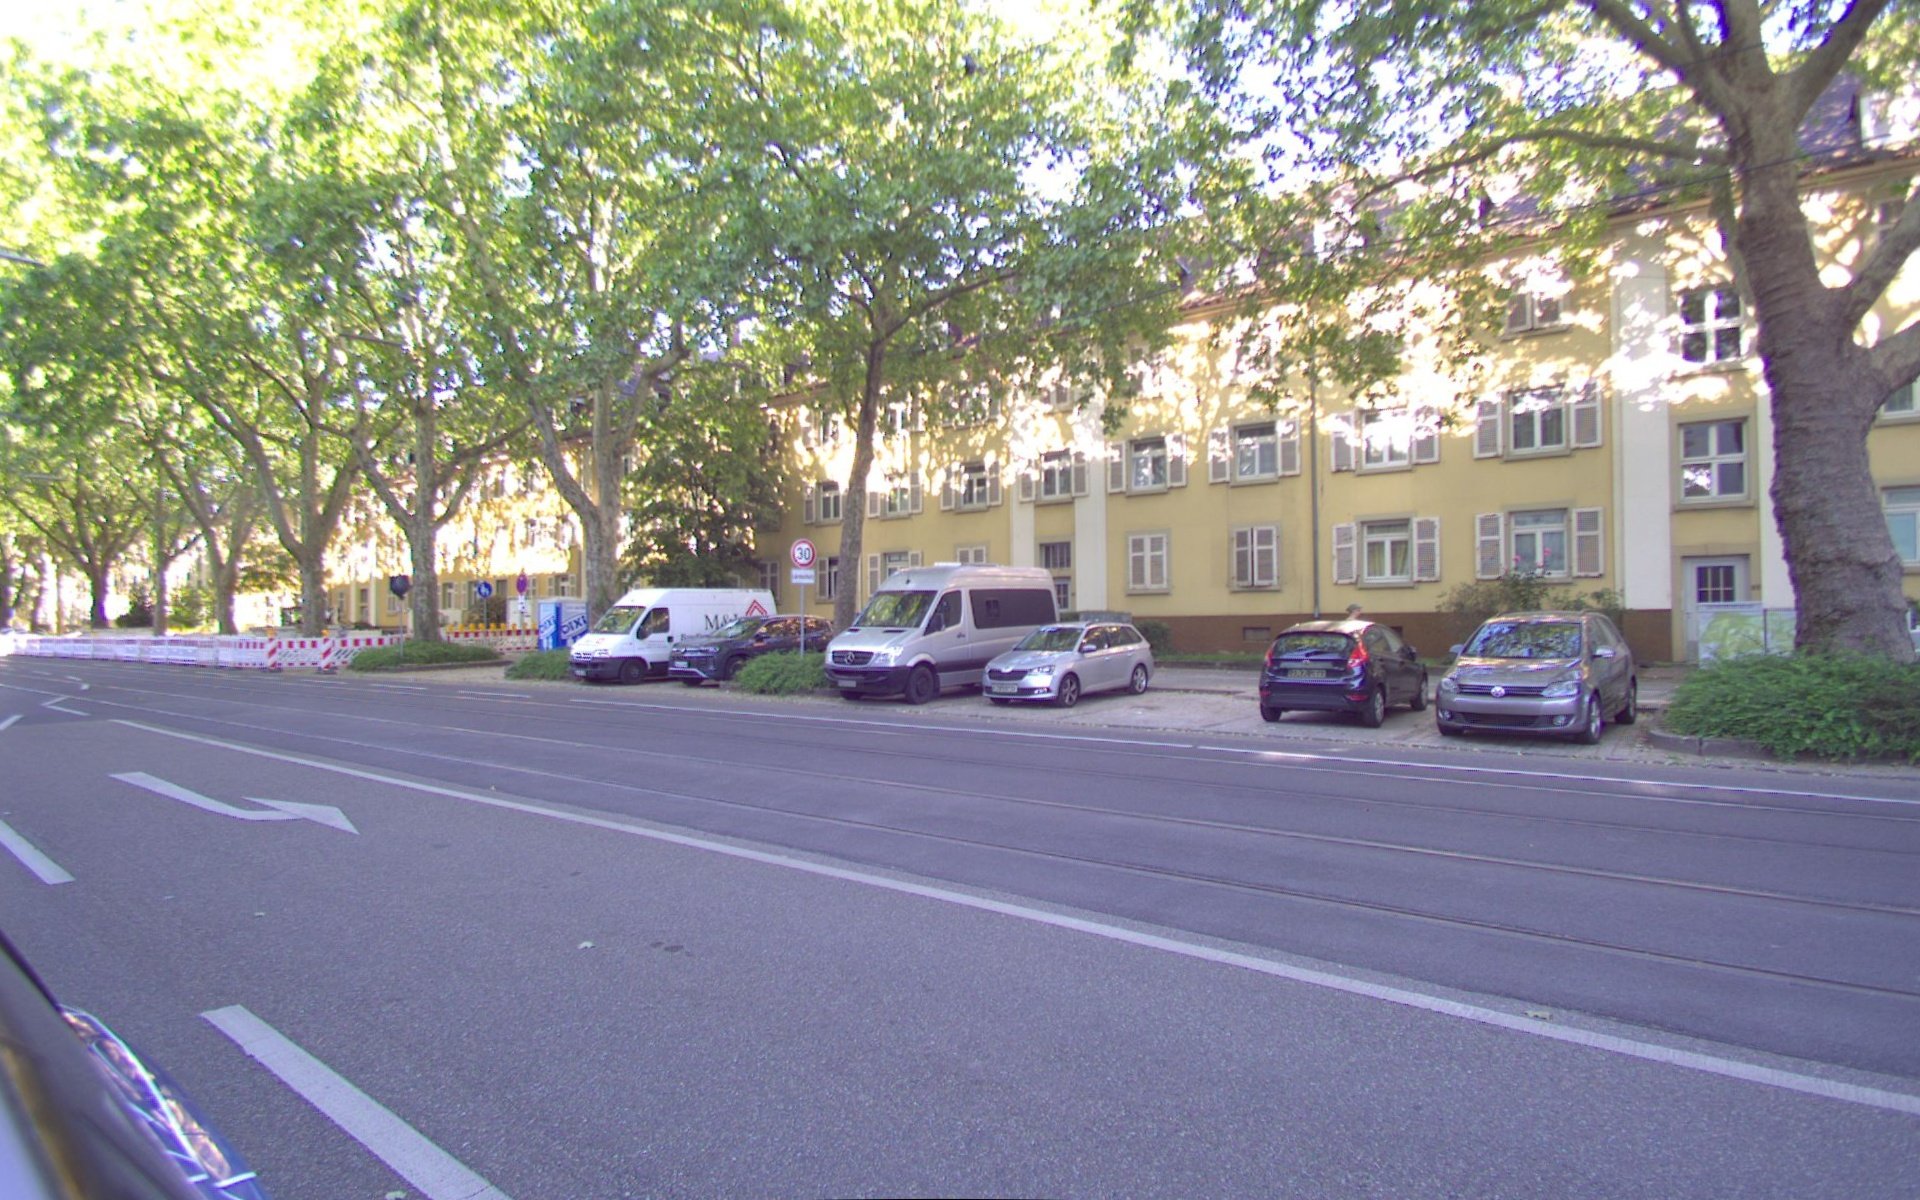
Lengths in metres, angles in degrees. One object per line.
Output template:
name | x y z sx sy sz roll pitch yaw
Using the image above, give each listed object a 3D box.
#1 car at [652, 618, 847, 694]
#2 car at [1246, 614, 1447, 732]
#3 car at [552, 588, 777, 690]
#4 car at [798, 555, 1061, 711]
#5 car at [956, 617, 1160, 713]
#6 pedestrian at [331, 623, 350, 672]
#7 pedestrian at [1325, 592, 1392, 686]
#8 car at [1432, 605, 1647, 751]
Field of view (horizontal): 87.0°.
car | -4.974 1.283 24.445 1.772 1.664 4.570 -2 -2 38
car | 5.970 1.006 15.416 1.671 1.509 3.756 -2 -1 41
car | -7.557 0.971 26.371 2.222 2.394 5.336 -2 -2 40
car | -0.423 0.615 20.444 2.221 2.702 5.596 -2 -1 38
car | 1.916 1.127 18.833 1.773 1.509 4.031 -2 -1 41
pedestrian | -22.966 1.753 37.517 0.573 1.759 0.654 -1 0 -32
pedestrian | 7.342 0.702 18.651 0.955 1.673 0.764 -1 0 40
car | 7.748 0.903 13.365 1.672 1.592 3.928 -2 -1 41
